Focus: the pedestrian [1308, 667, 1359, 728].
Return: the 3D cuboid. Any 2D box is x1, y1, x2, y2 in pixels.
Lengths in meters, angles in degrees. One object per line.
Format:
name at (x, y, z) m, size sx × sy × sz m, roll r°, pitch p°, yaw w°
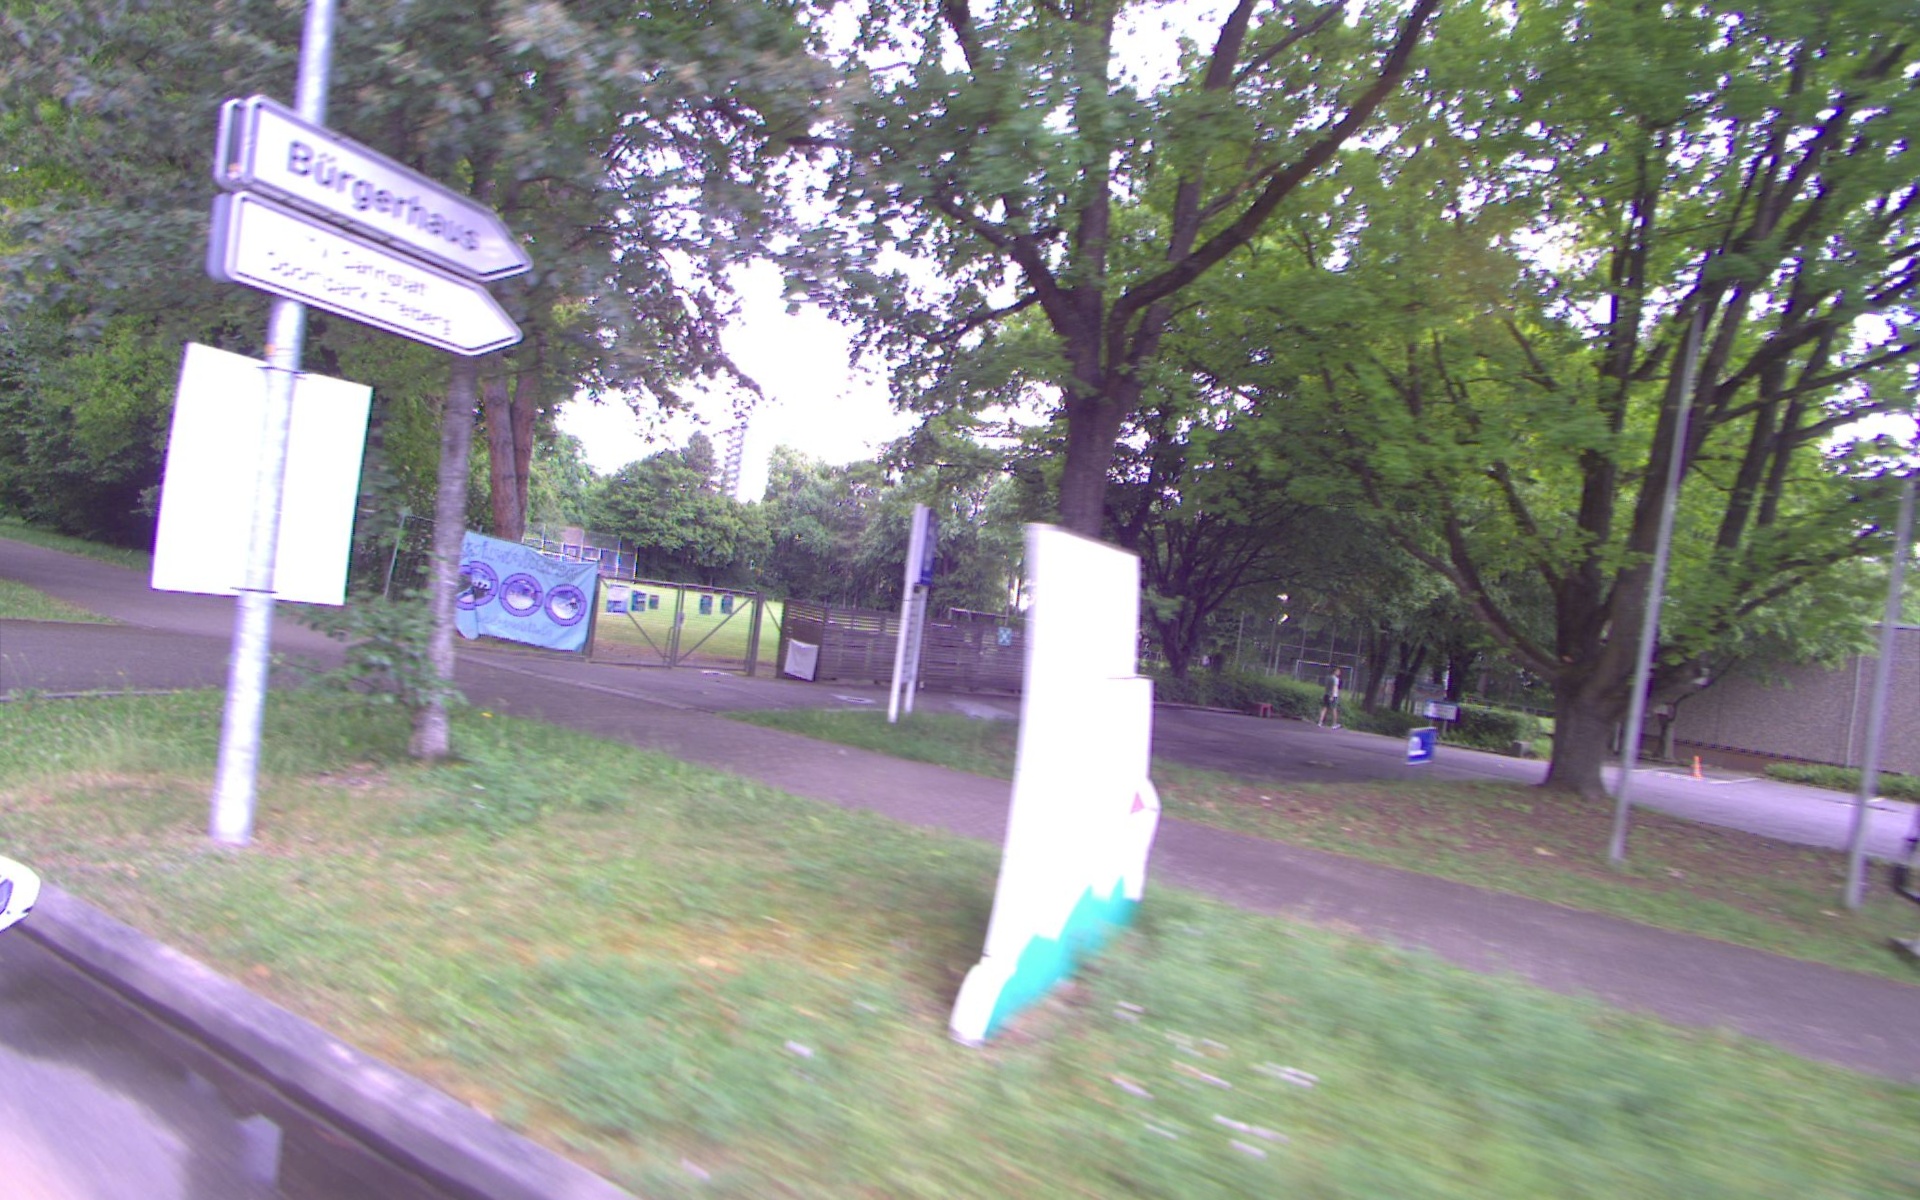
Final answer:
pedestrian at (10.982, 2.869, 29.592) m, size 1.141 × 1.696 × 0.785 m, roll 5°, pitch 1°, yaw -37°
